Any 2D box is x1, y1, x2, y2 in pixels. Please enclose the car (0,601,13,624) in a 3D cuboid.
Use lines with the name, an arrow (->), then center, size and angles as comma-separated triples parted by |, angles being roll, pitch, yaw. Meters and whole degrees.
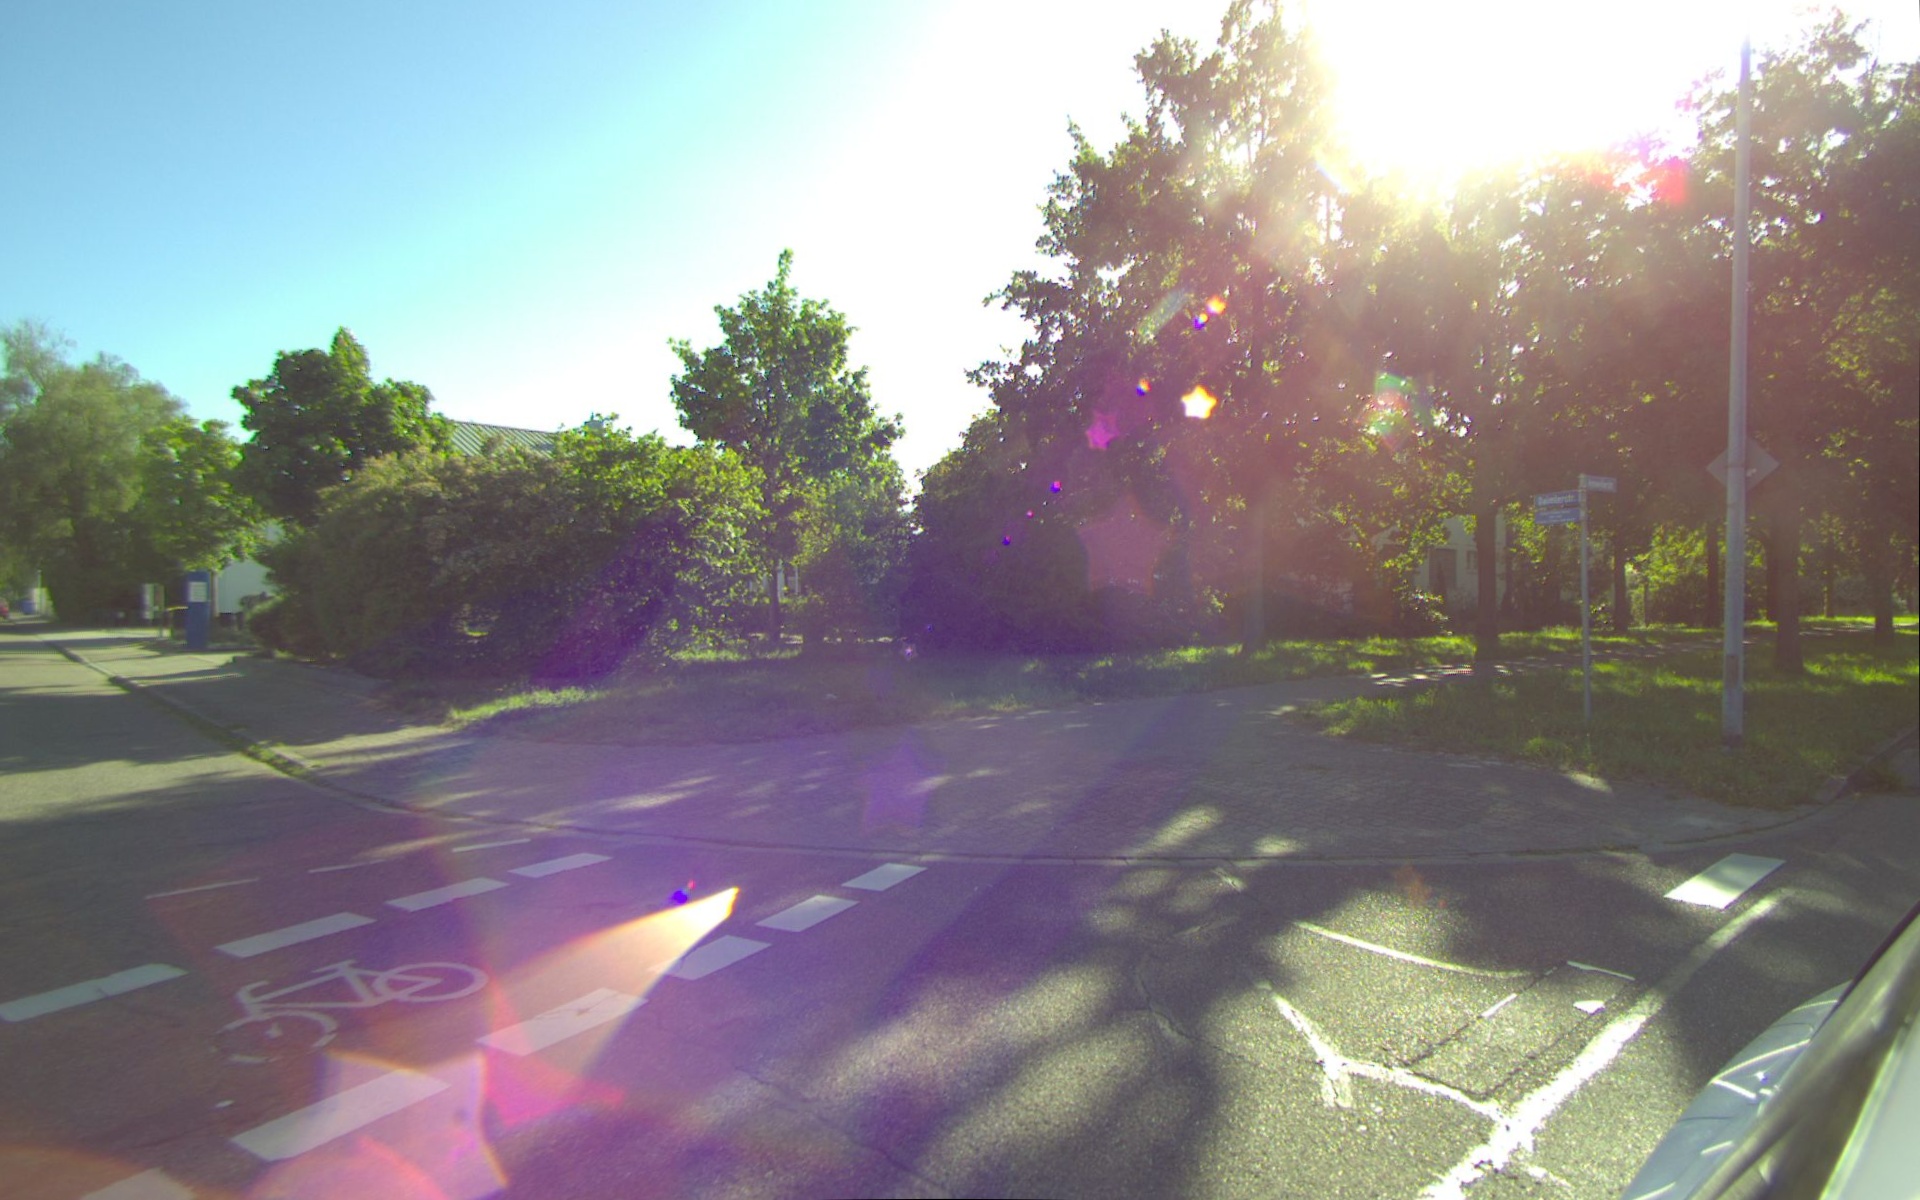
car -> -66.865, 0.908, 69.827 | 3.984, 1.560, 1.969 | -2, -1, 43

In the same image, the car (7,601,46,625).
car -> -74.882, 1.066, 81.174 | 3.984, 1.818, 1.969 | -2, -1, 43
